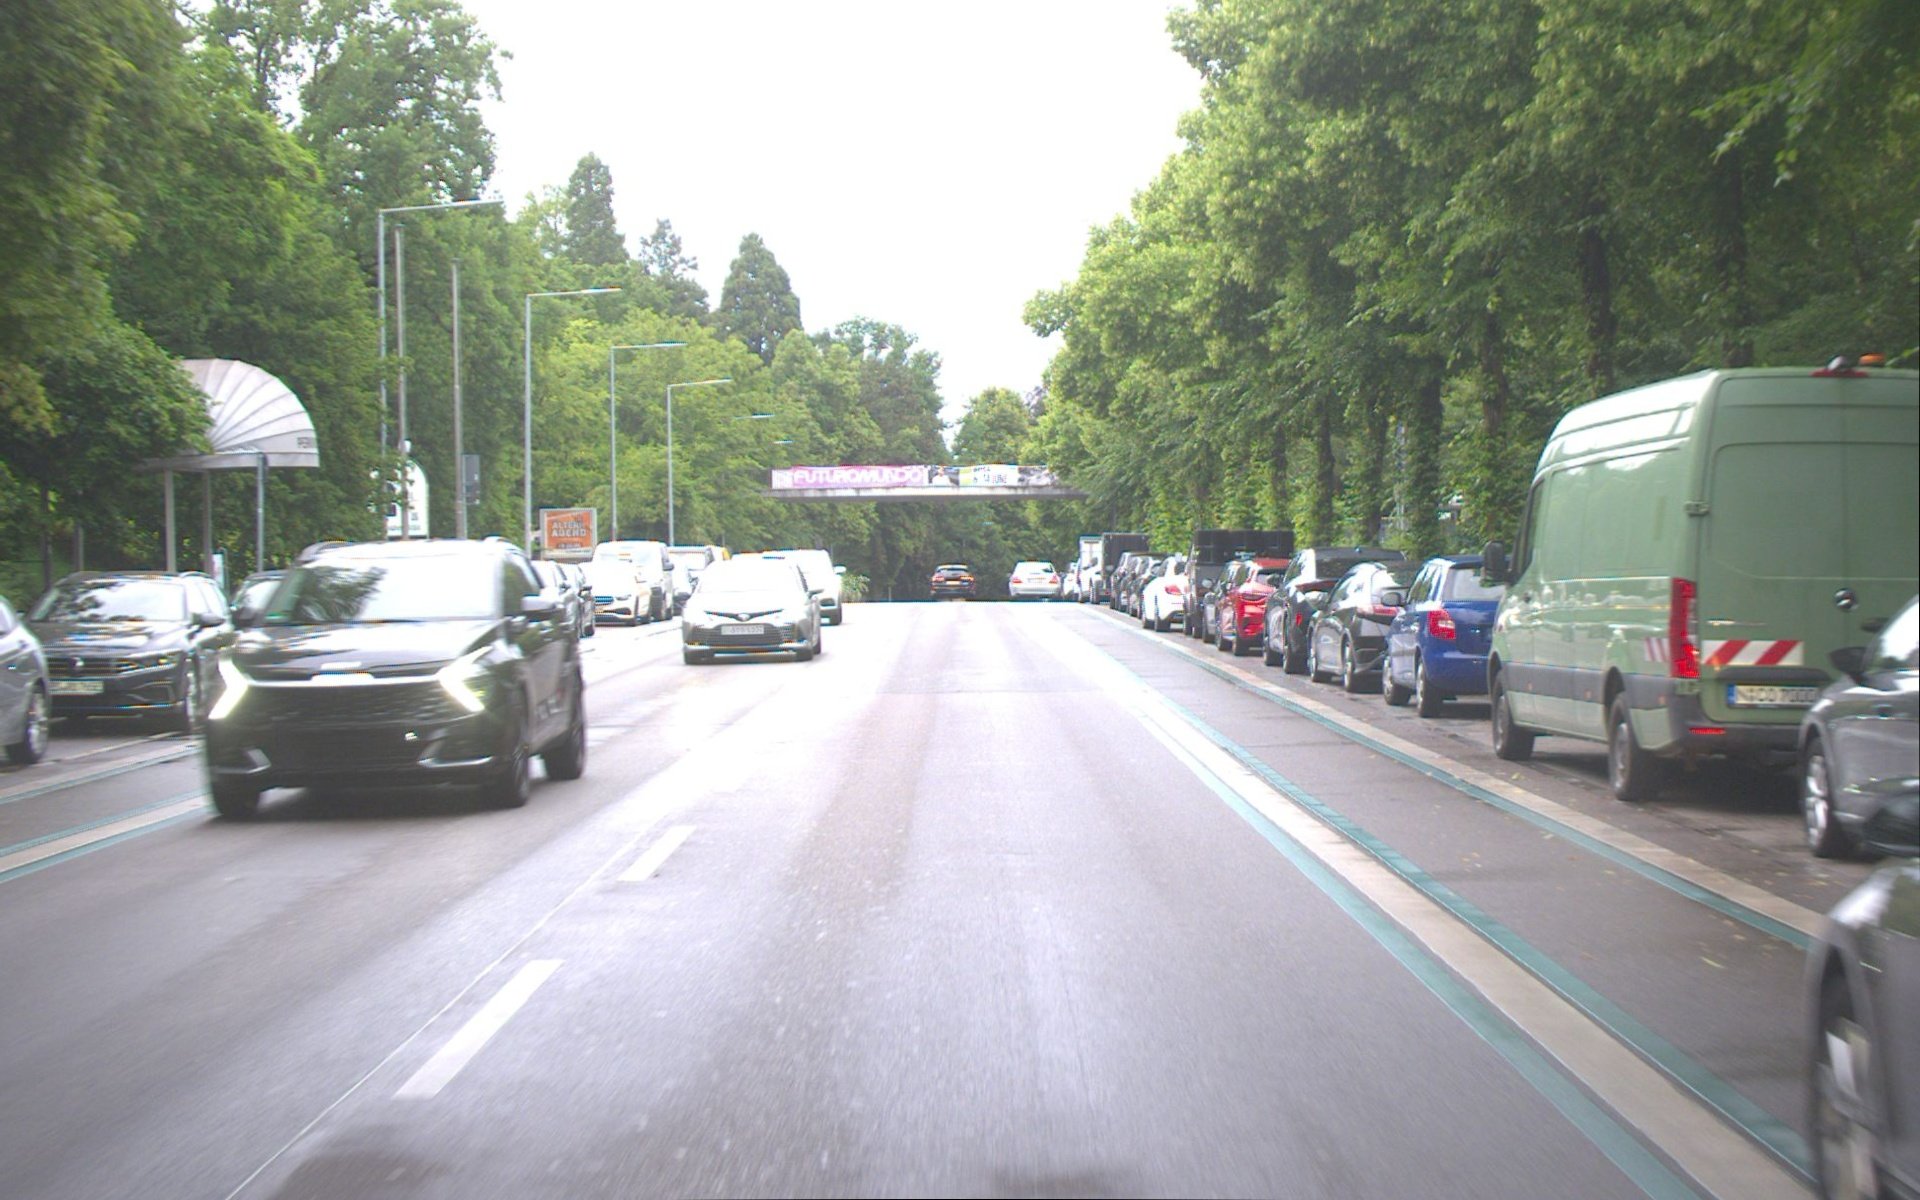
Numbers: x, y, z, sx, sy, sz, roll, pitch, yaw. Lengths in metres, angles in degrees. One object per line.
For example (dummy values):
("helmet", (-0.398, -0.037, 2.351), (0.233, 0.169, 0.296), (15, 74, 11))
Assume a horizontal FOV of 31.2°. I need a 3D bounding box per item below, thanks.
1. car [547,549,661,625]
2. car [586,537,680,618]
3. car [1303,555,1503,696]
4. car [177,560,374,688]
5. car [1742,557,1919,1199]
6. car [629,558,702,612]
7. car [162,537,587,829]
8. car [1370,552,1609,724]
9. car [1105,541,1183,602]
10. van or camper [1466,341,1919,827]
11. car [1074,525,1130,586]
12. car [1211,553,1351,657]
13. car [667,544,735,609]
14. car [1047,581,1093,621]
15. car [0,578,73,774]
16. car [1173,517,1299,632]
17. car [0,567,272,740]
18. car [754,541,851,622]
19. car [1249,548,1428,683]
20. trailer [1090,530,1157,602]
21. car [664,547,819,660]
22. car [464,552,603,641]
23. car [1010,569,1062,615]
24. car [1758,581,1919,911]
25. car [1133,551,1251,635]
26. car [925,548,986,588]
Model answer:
("car", (-8.184, -0.329, 79.438), (1.990, 1.600, 4.985), (-1, 1, 1))
("car", (-8.114, -0.594, 85.617), (1.913, 1.925, 4.928), (0, 1, -1))
("car", (4.910, 0.243, 38.595), (1.686, 1.451, 4.146), (1, 1, 0))
("car", (-8.373, 0.259, 42.331), (1.670, 1.452, 3.993), (1, 1, -1))
("car", (2.674, 0.690, 5.815), (1.818, 1.503, 4.139), (0, 1, 1))
("car", (-8.206, -0.437, 96.081), (1.731, 1.385, 4.370), (0, 1, -1))
("car", (-3.558, 0.431, 21.688), (1.966, 1.622, 4.321), (-1, 1, -1))
("car", (5.027, 0.318, 33.062), (1.686, 1.508, 3.835), (1, 1, 0))
("car", (4.966, -0.776, 93.401), (1.731, 1.578, 4.155), (1, 1, -2))
("van or camper", (4.981, -0.141, 22.909), (2.042, 2.720, 6.901), (1, 1, -1))
("car", (5.032, -1.589, 122.385), (1.889, 2.120, 4.045), (1, 1, 1))
("car", (4.780, 0.047, 51.644), (1.686, 1.448, 4.166), (1, 1, 0))
("car", (-8.092, -0.767, 107.802), (1.882, 1.938, 4.826), (0, 1, -1))
("car", (4.266, 0.026, 134.295), (1.731, 1.457, 4.045), (-1, 1, 1))
("car", (-8.037, 0.592, 25.625), (1.784, 1.418, 4.296), (0, 1, -1))
("car", (4.967, -0.489, 62.448), (1.926, 2.015, 4.664), (0, 1, 0))
("car", (-7.952, 0.456, 33.019), (1.956, 1.458, 4.757), (0, 1, -3))
("car", (-3.368, -0.425, 74.162), (1.795, 1.646, 4.129), (-2, 1, 1))
("car", (4.769, 0.151, 43.833), (1.756, 1.584, 4.498), (1, 1, 0))
("trailer", (5.004, -1.058, 105.599), (1.884, 2.158, 3.808), (-1, 1, 1))
("car", (-3.105, 0.022, 49.616), (1.921, 1.555, 4.621), (0, 1, 0))
("car", (-7.492, -0.096, 60.735), (2.077, 1.477, 4.674), (1, 1, -3))
("car", (2.696, -0.303, 122.865), (1.731, 1.578, 4.037), (-1, 1, 0))
("car", (5.036, 0.645, 15.991), (1.686, 1.411, 4.100), (1, 1, 0))
("car", (4.504, -0.158, 67.341), (1.789, 1.537, 4.890), (1, 1, -2))
("car", (-0.205, -1.276, 135.762), (2.140, 1.487, 4.499), (1, 1, -3))
